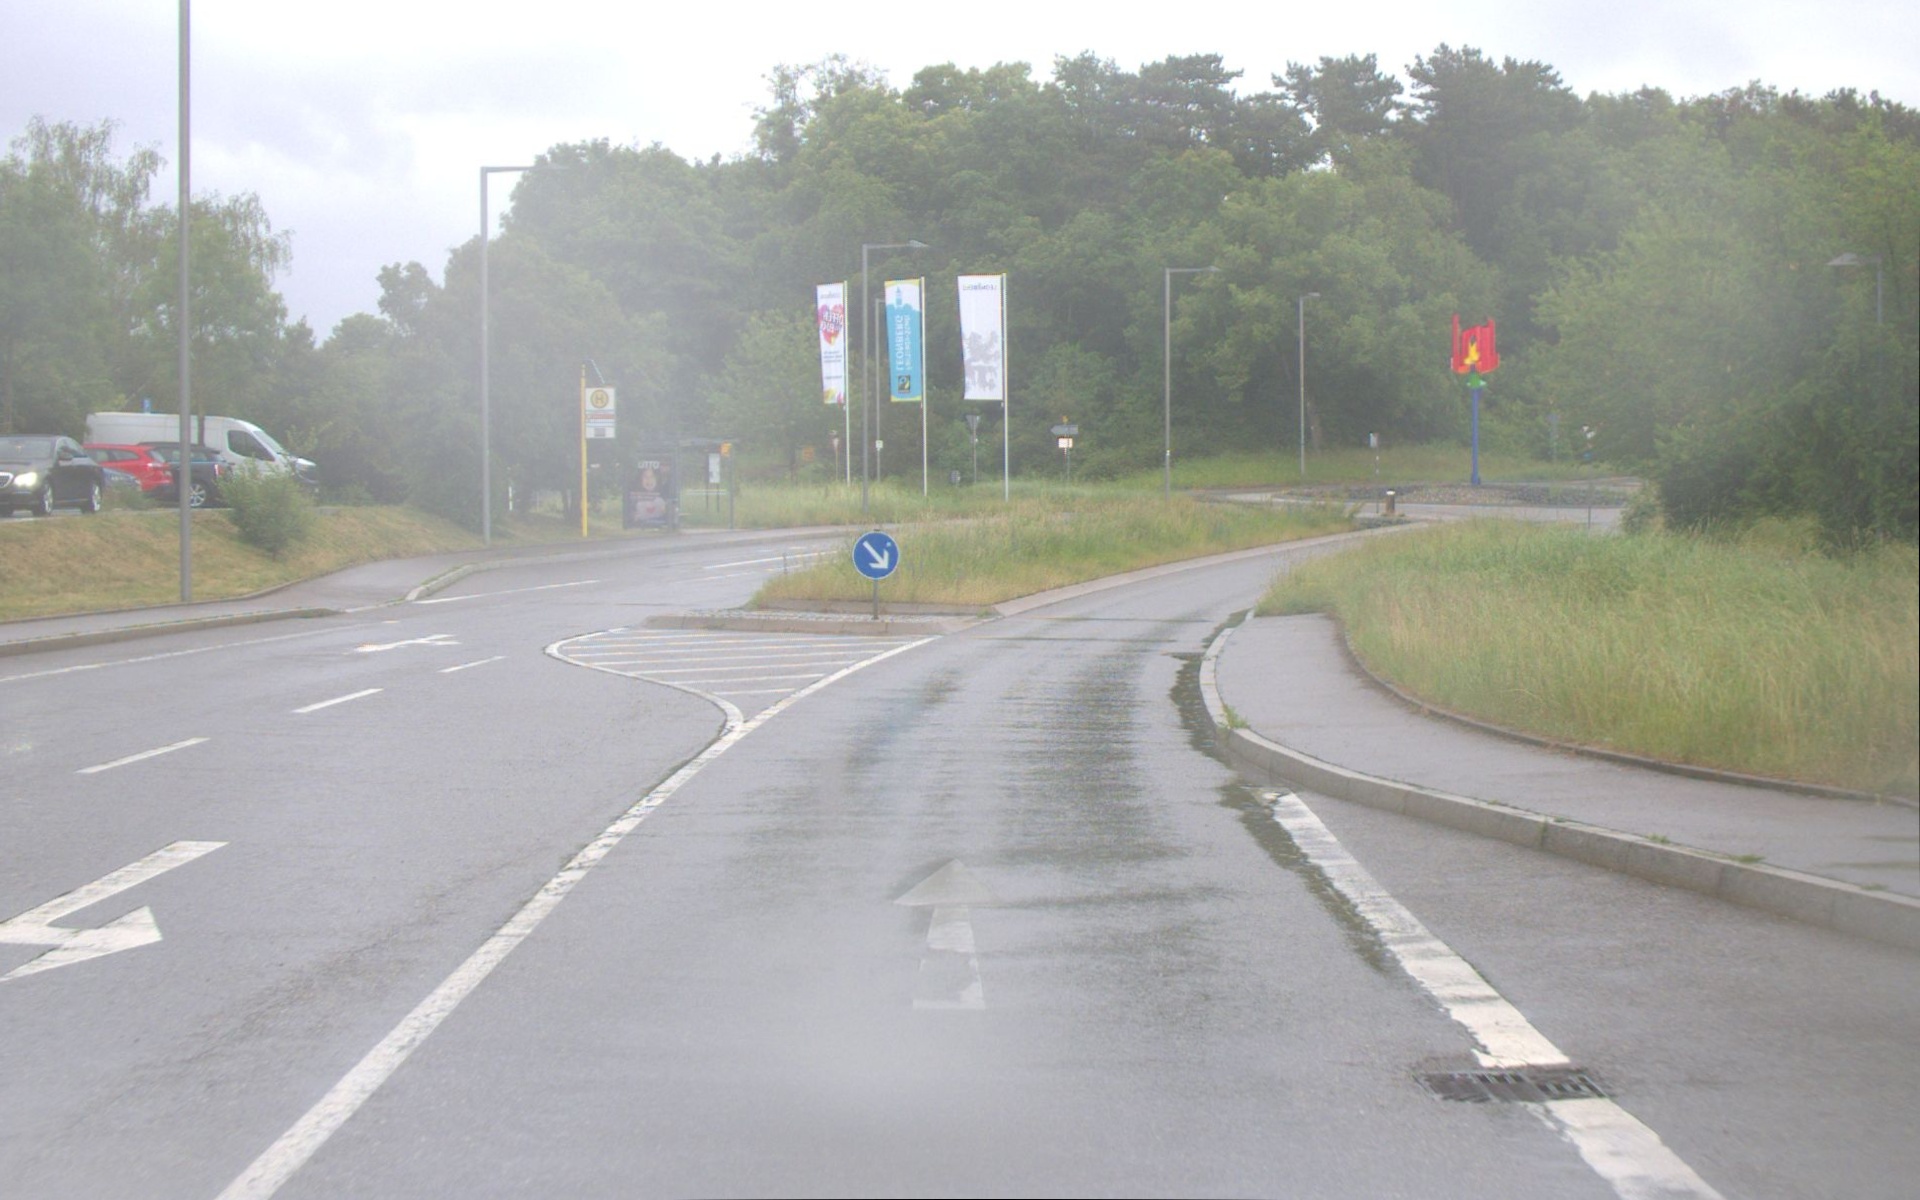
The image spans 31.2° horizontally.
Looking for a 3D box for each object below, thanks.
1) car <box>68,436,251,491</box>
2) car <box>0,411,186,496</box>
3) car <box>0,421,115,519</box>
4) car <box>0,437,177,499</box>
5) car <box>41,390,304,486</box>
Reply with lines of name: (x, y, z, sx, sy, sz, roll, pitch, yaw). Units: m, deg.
car: (-19.775, -3.376, 85.010, 3.988, 1.359, 1.847, 0, 2, 7)
car: (-18.783, -3.075, 71.843, 4.707, 1.687, 2.005, 1, 2, 5)
car: (-16.601, -2.337, 61.139, 1.691, 1.563, 4.542, 3, 4, 4)
car: (-20.892, -3.154, 81.909, 3.988, 1.464, 1.848, 0, 2, 5)
car: (-21.224, -4.365, 92.791, 6.555, 2.389, 2.139, 1, 1, 1)
